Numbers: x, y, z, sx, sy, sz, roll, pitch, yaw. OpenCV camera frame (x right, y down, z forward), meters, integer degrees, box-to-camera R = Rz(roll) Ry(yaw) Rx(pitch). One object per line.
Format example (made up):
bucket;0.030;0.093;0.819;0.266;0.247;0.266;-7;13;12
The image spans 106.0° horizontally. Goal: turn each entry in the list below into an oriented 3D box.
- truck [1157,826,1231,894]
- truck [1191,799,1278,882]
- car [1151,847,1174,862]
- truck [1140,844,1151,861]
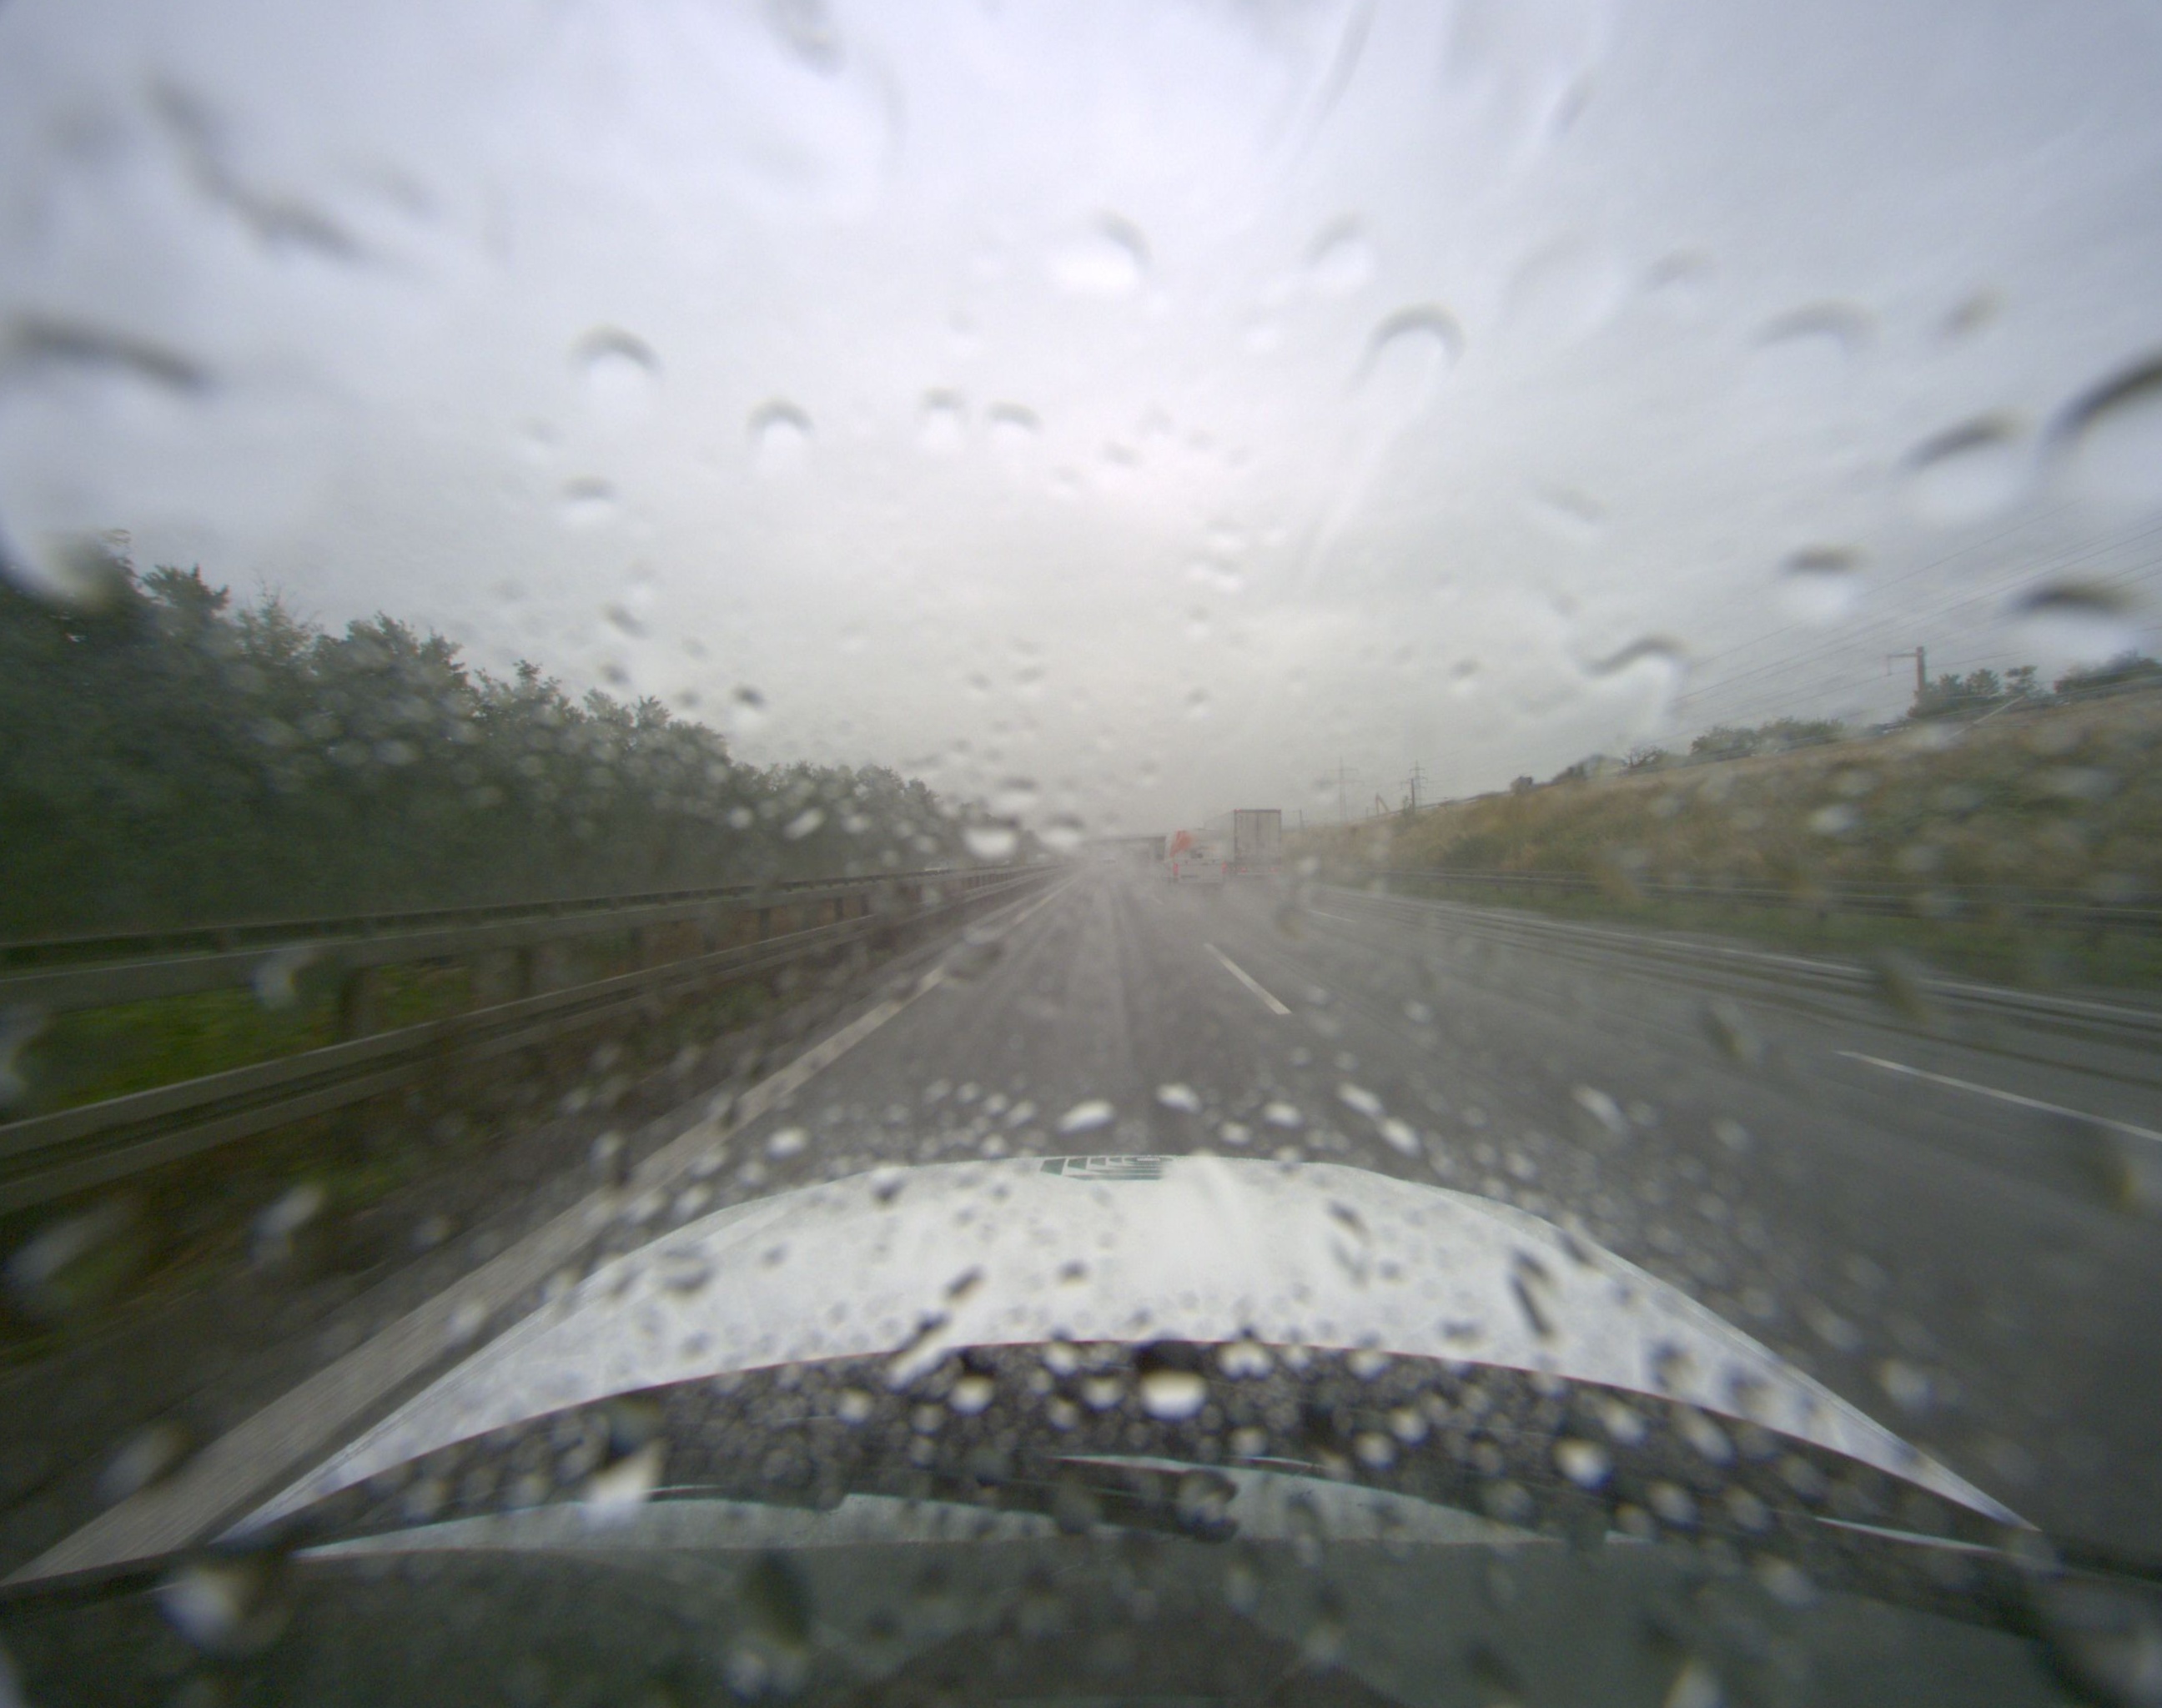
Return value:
truck;4.370;0.180;32.472;2.410;2.492;5.564;0;1;3
truck;9.676;-0.733;53.688;3.029;4.588;16.354;0;0;1
car;10.963;0.068;110.419;2.778;2.013;4.995;0;1;2
truck;13.563;-0.404;171.271;2.102;3.516;5.248;0;1;0
